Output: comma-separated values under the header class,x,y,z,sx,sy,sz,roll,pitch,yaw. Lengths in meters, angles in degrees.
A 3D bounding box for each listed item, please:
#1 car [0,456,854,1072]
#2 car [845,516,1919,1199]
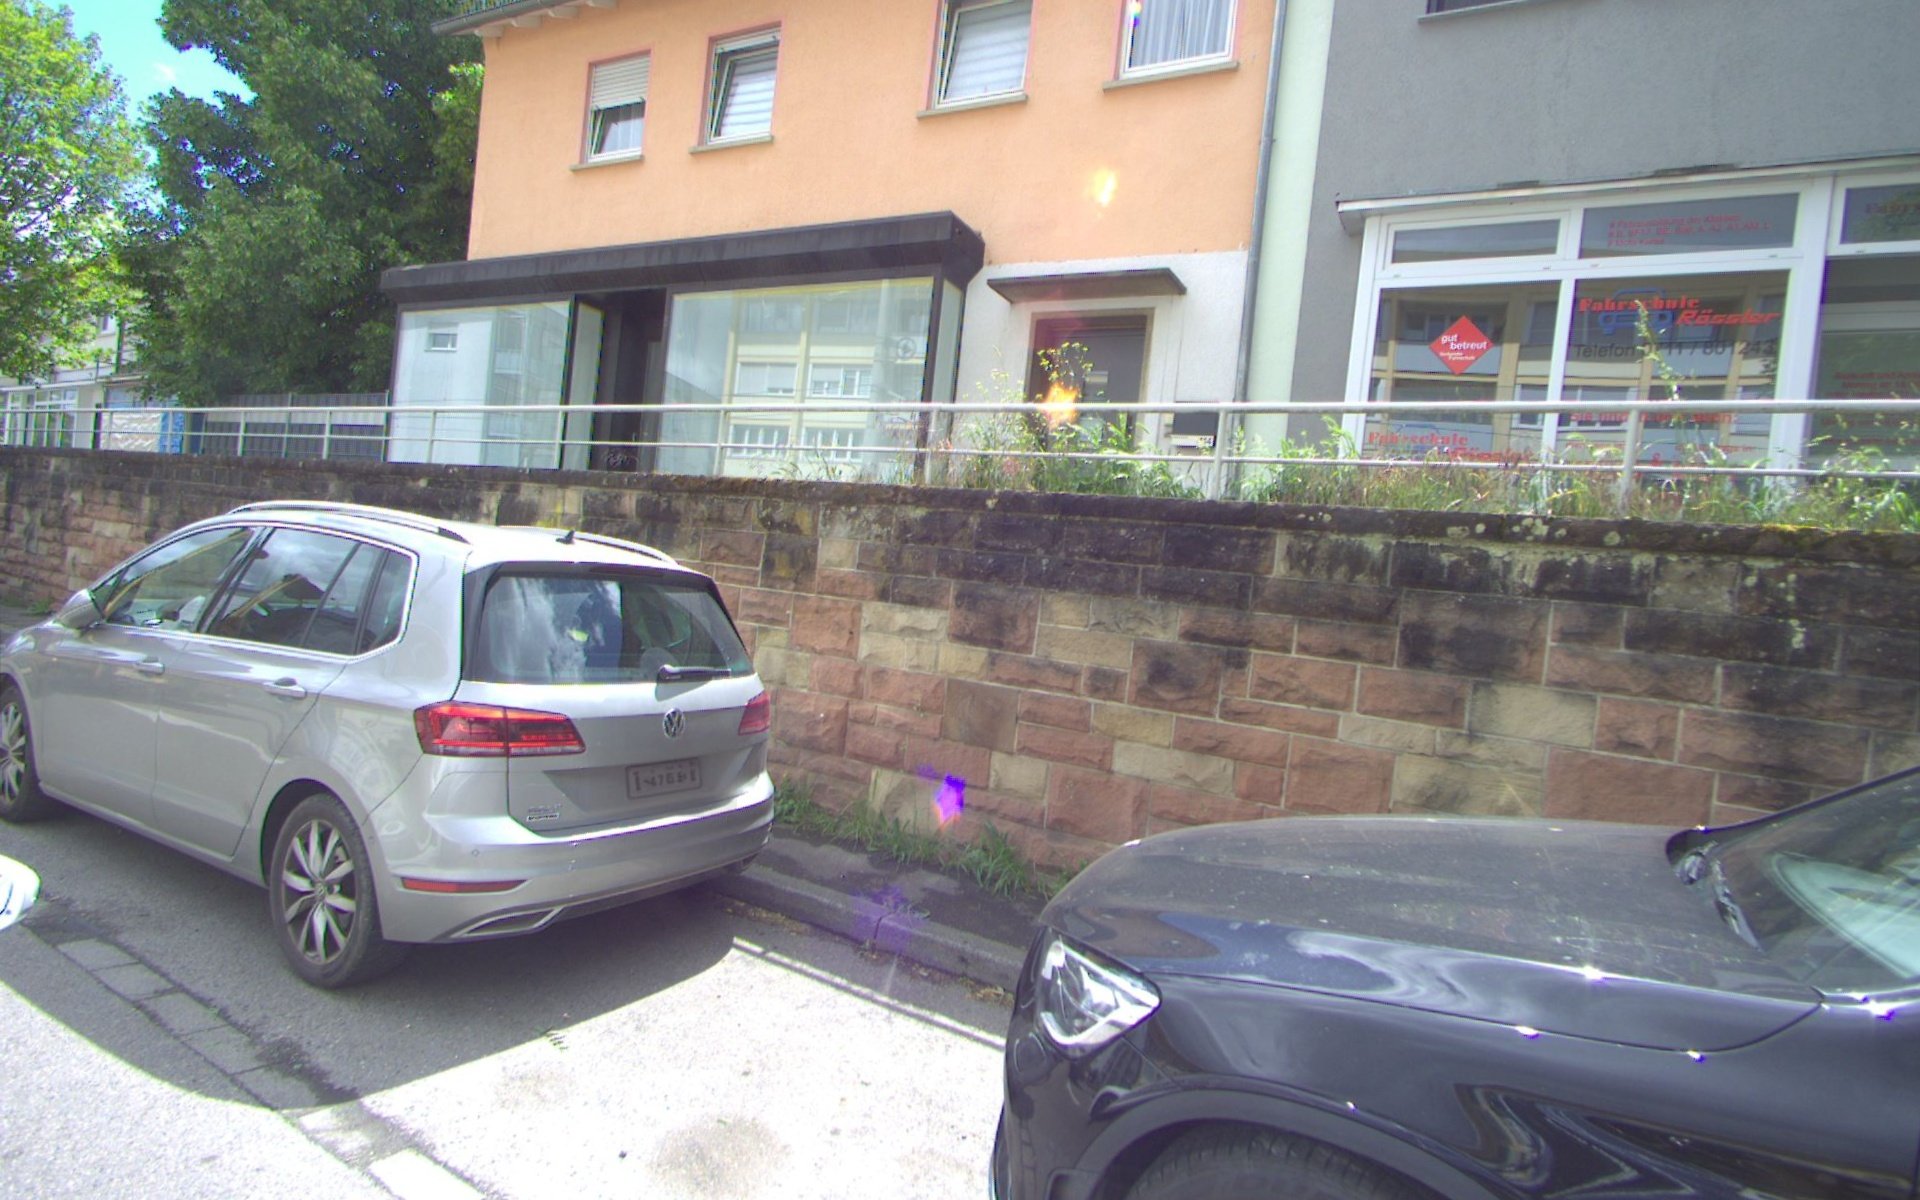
class,x,y,z,sx,sy,sz,roll,pitch,yaw
car,-2.766,0.344,4.629,4.177,1.638,1.791,7,1,31
car,2.141,0.906,1.527,4.373,1.639,1.791,7,2,31
